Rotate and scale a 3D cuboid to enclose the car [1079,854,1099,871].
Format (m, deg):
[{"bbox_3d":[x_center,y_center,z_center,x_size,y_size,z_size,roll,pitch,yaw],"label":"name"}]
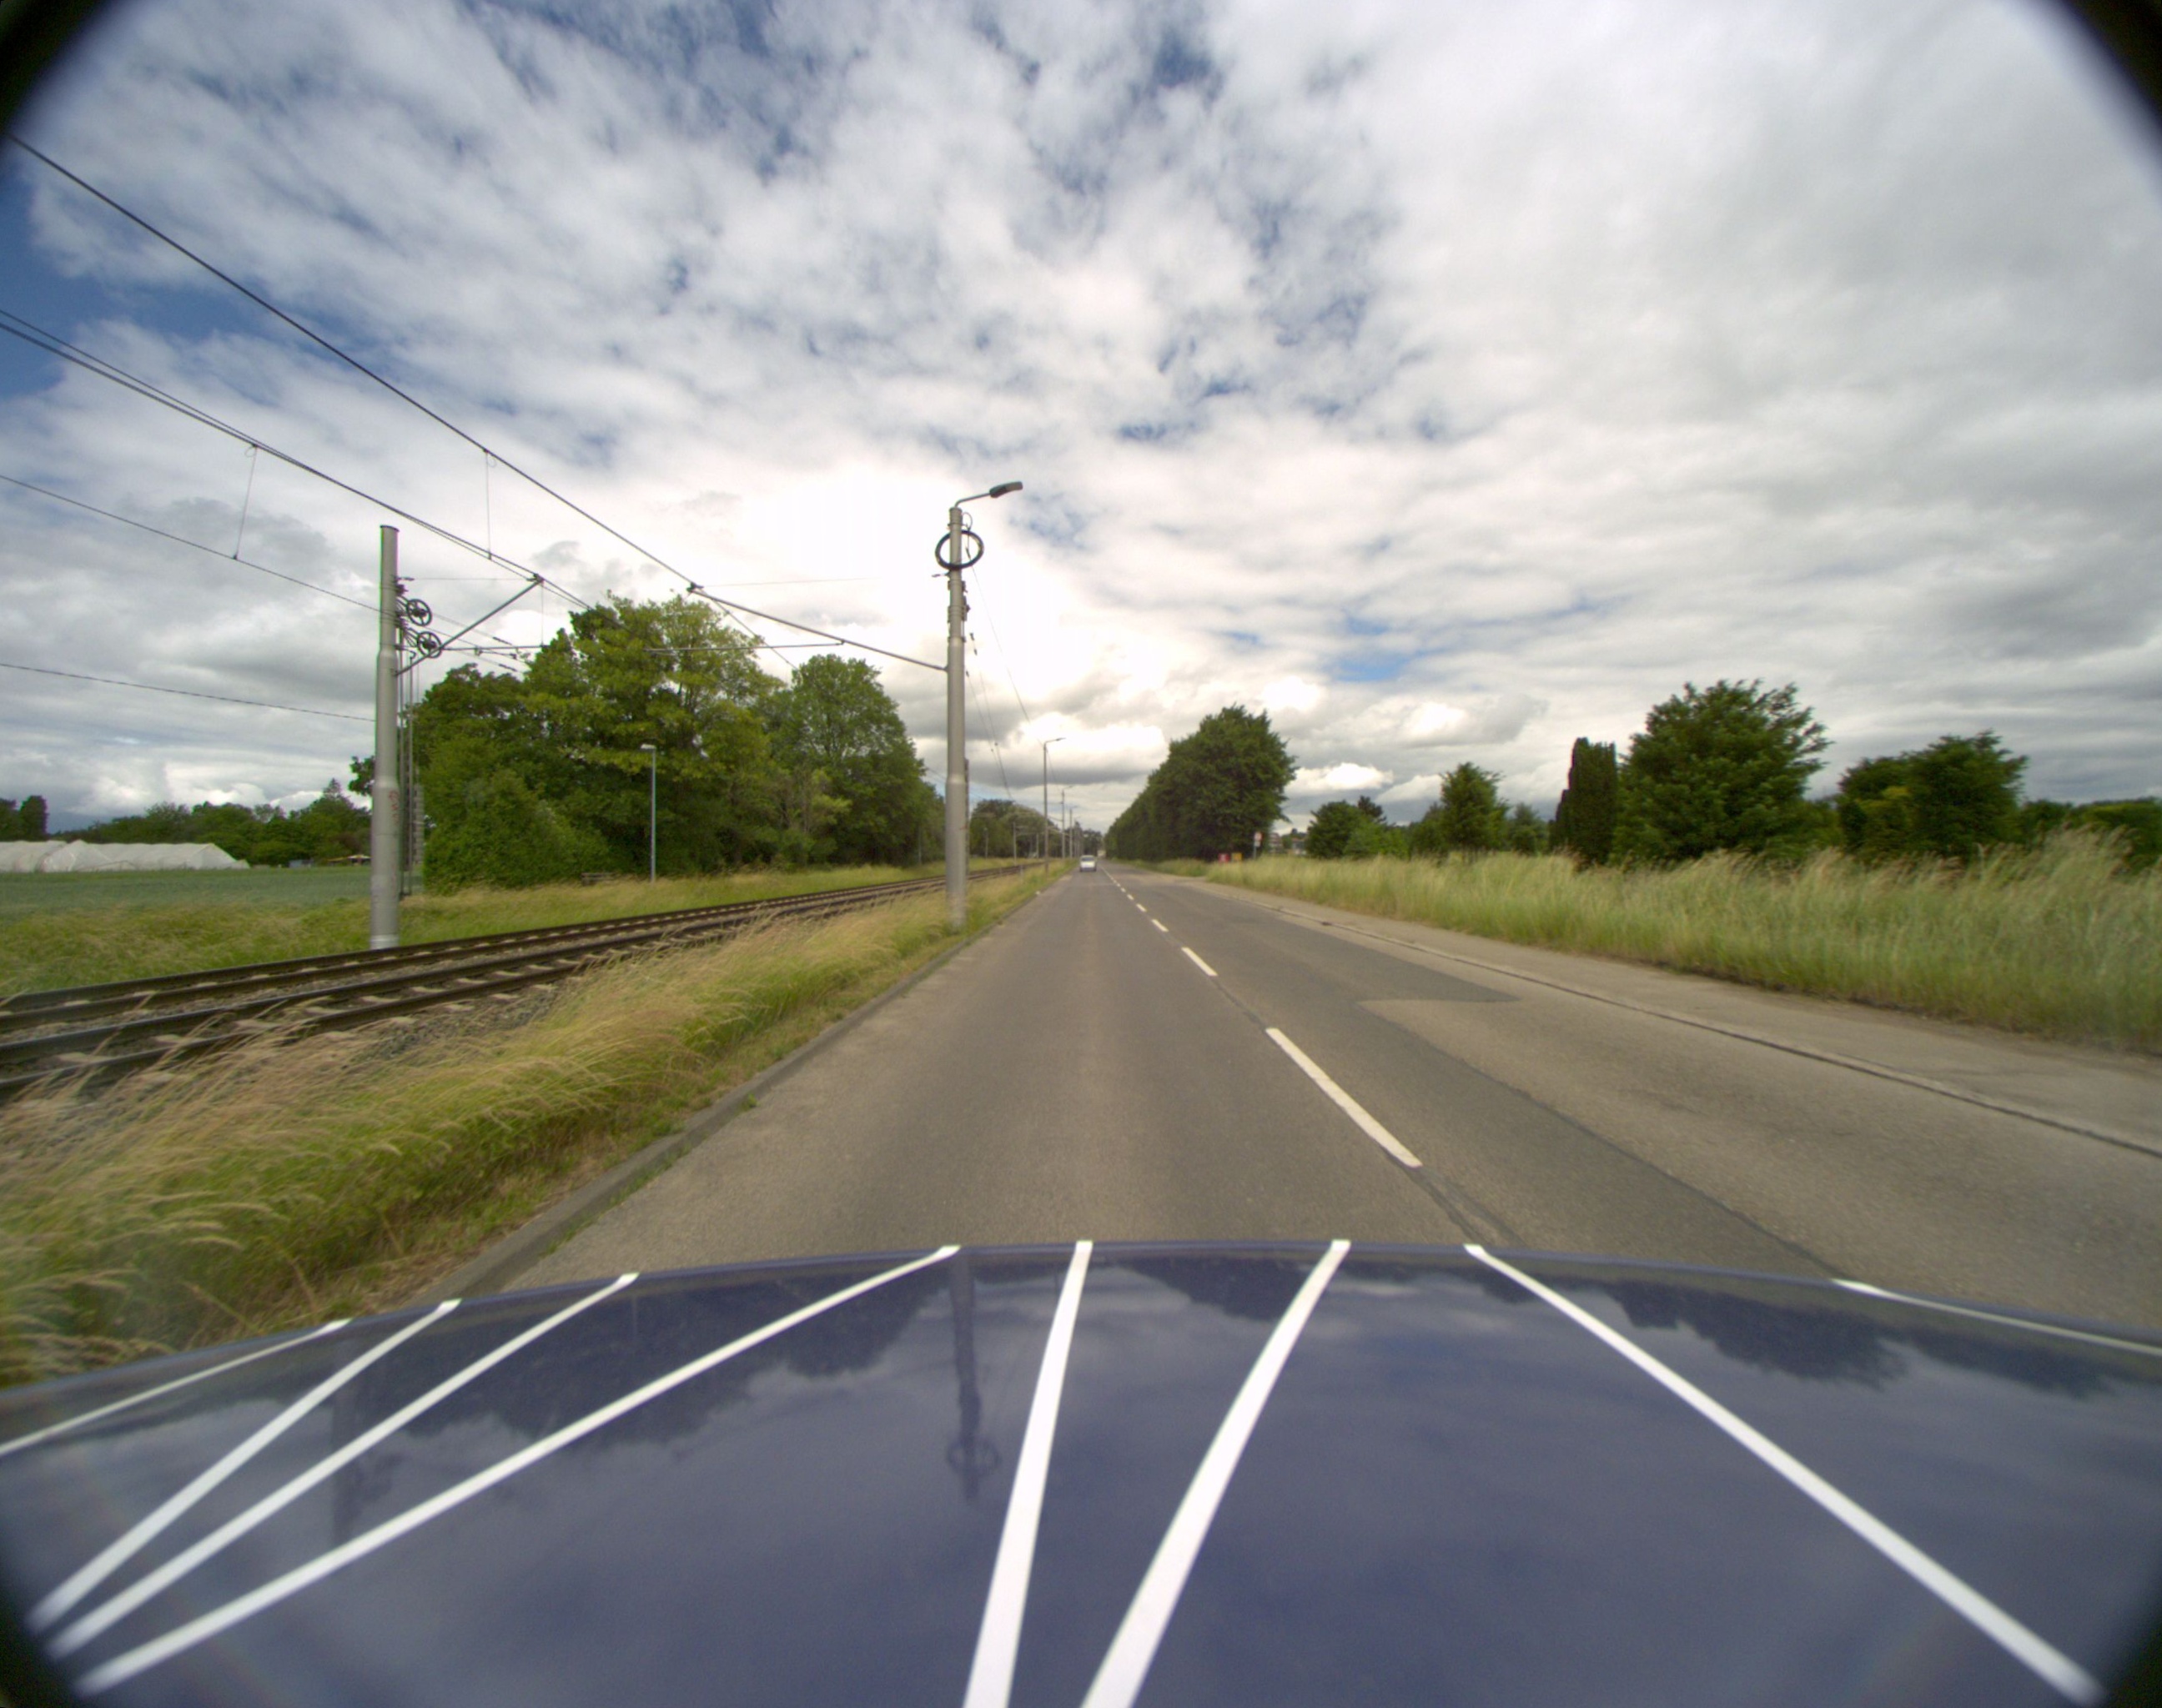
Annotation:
[{"bbox_3d":[0.842,0.821,78.699,1.999,1.679,3.999,-1,0,0],"label":"car"}]
